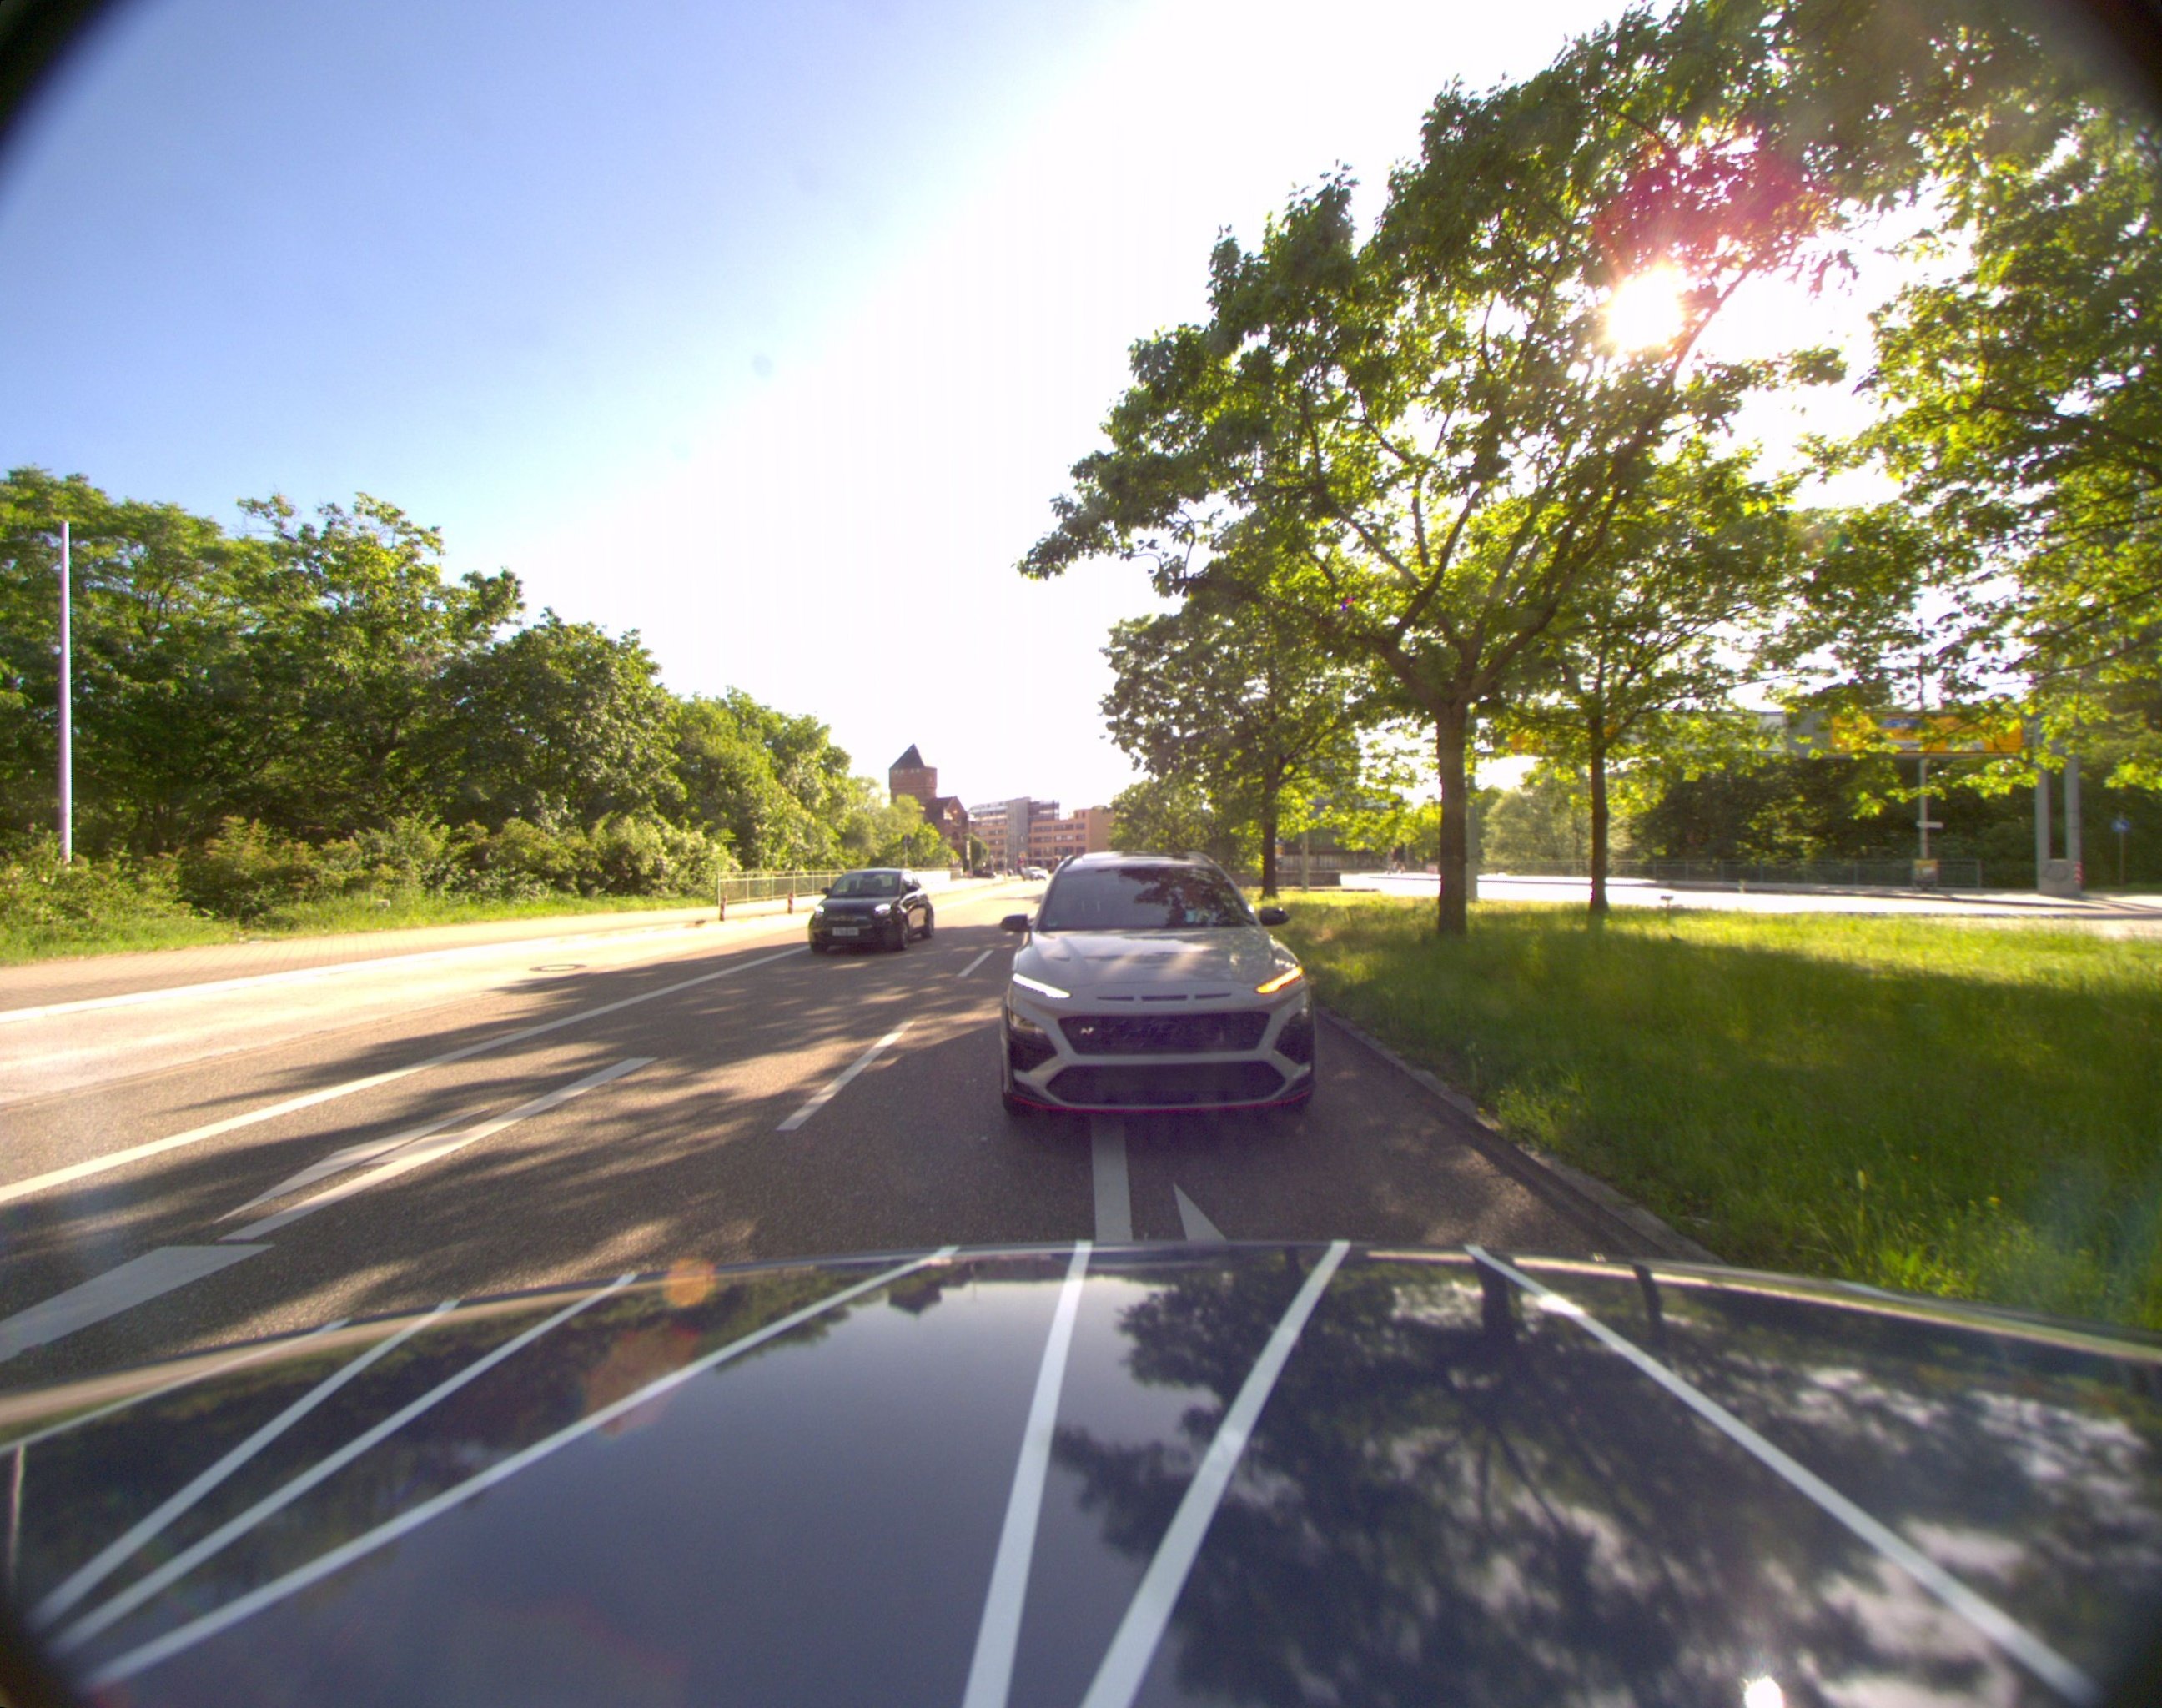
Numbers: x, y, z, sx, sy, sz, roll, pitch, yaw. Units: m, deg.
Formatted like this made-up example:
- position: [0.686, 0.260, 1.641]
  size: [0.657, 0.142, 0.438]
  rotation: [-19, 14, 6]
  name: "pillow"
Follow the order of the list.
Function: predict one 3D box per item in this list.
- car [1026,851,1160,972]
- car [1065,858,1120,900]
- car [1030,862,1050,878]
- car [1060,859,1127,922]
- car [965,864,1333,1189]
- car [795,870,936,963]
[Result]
- position: [0.370, 0.834, 12.802]
  size: [1.744, 1.539, 4.002]
  rotation: [-6, -1, 6]
  name: "car"
- position: [0.425, 0.992, 31.929]
  size: [1.834, 1.637, 3.998]
  rotation: [-1, 0, -6]
  name: "car"
- position: [-4.543, 1.752, 84.089]
  size: [1.999, 1.595, 4.209]
  rotation: [-1, 0, -6]
  name: "car"
- position: [0.420, 0.957, 21.556]
  size: [1.678, 1.499, 3.949]
  rotation: [-2, 1, 3]
  name: "car"
- position: [0.419, 0.880, 5.719]
  size: [1.780, 1.542, 3.981]
  rotation: [-1, 0, 3]
  name: "car"
- position: [-4.016, 1.102, 14.731]
  size: [1.678, 1.494, 3.562]
  rotation: [-1, 0, 0]
  name: "car"
